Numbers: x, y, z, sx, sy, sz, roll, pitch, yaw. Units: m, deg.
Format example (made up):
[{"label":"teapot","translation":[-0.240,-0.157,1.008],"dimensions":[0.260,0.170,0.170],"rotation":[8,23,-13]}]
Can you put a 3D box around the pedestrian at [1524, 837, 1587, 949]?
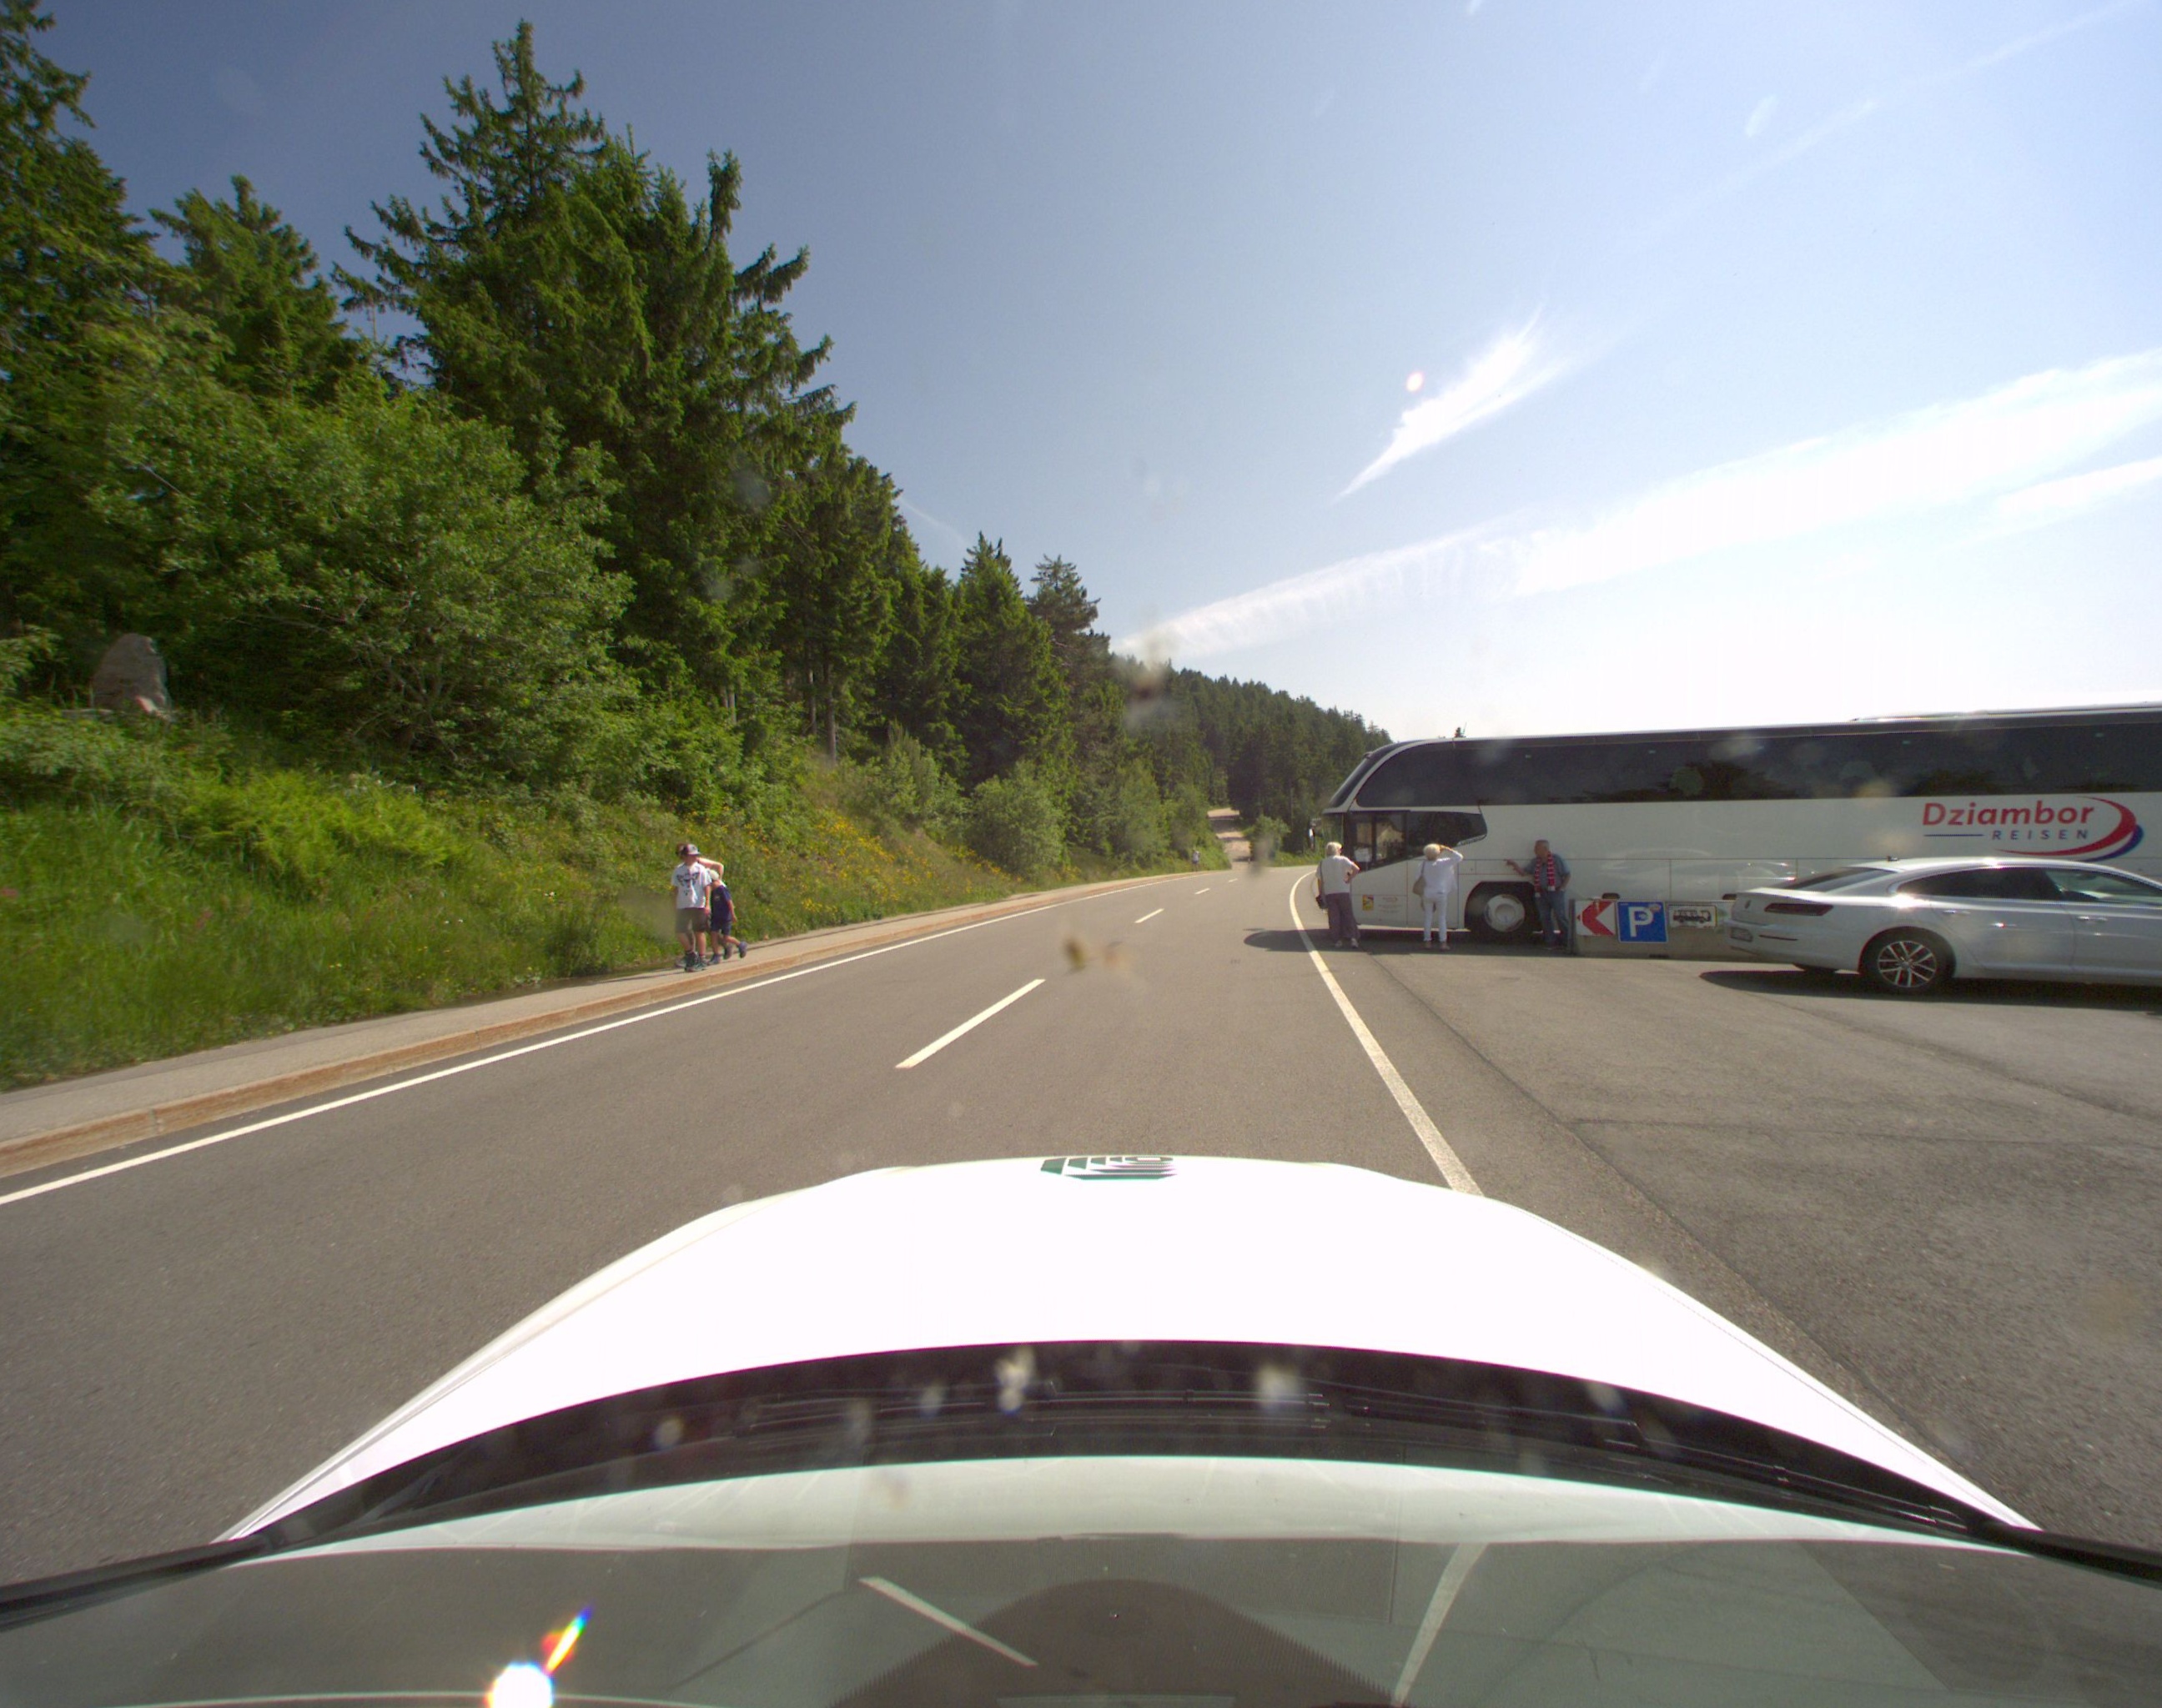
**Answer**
[{"label":"pedestrian","translation":[7.167,0.570,12.337],"dimensions":[0.639,1.643,0.748],"rotation":[-2,0,18]}]

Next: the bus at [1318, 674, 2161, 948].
[{"label":"bus","translation":[10.561,-0.504,13.222],"dimensions":[12.745,3.577,2.852],"rotation":[-1,0,17]}]

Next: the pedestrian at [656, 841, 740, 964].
[{"label":"pedestrian","translation":[-5.348,0.650,11.407],"dimensions":[0.572,1.643,0.897],"rotation":[-2,0,13]}]

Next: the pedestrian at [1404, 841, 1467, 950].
[{"label":"pedestrian","translation":[5.444,0.616,12.506],"dimensions":[0.638,1.596,0.749],"rotation":[-2,0,42]}]

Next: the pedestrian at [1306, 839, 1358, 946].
[{"label":"pedestrian","translation":[4.003,0.598,13.032],"dimensions":[0.701,1.643,0.748],"rotation":[-2,0,14]}]

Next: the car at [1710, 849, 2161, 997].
[{"label":"car","translation":[9.758,0.652,8.801],"dimensions":[4.387,1.396,1.727],"rotation":[0,0,20]}]

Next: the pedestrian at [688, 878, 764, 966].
[{"label":"pedestrian","translation":[-4.773,0.902,10.986],"dimensions":[0.564,1.102,0.747],"rotation":[-2,0,13]}]

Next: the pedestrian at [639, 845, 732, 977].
[{"label":"pedestrian","translation":[-4.848,0.668,10.032],"dimensions":[0.577,1.537,0.882],"rotation":[-2,0,10]}]

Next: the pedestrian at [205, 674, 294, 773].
[{"label":"pedestrian","translation":[-14.781,-2.296,14.496],"dimensions":[0.805,1.629,0.743],"rotation":[-1,0,5]}]

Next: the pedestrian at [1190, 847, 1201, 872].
[{"label":"pedestrian","translation":[8.185,0.394,58.106],"dimensions":[0.678,1.746,0.828],"rotation":[0,0,11]}]
